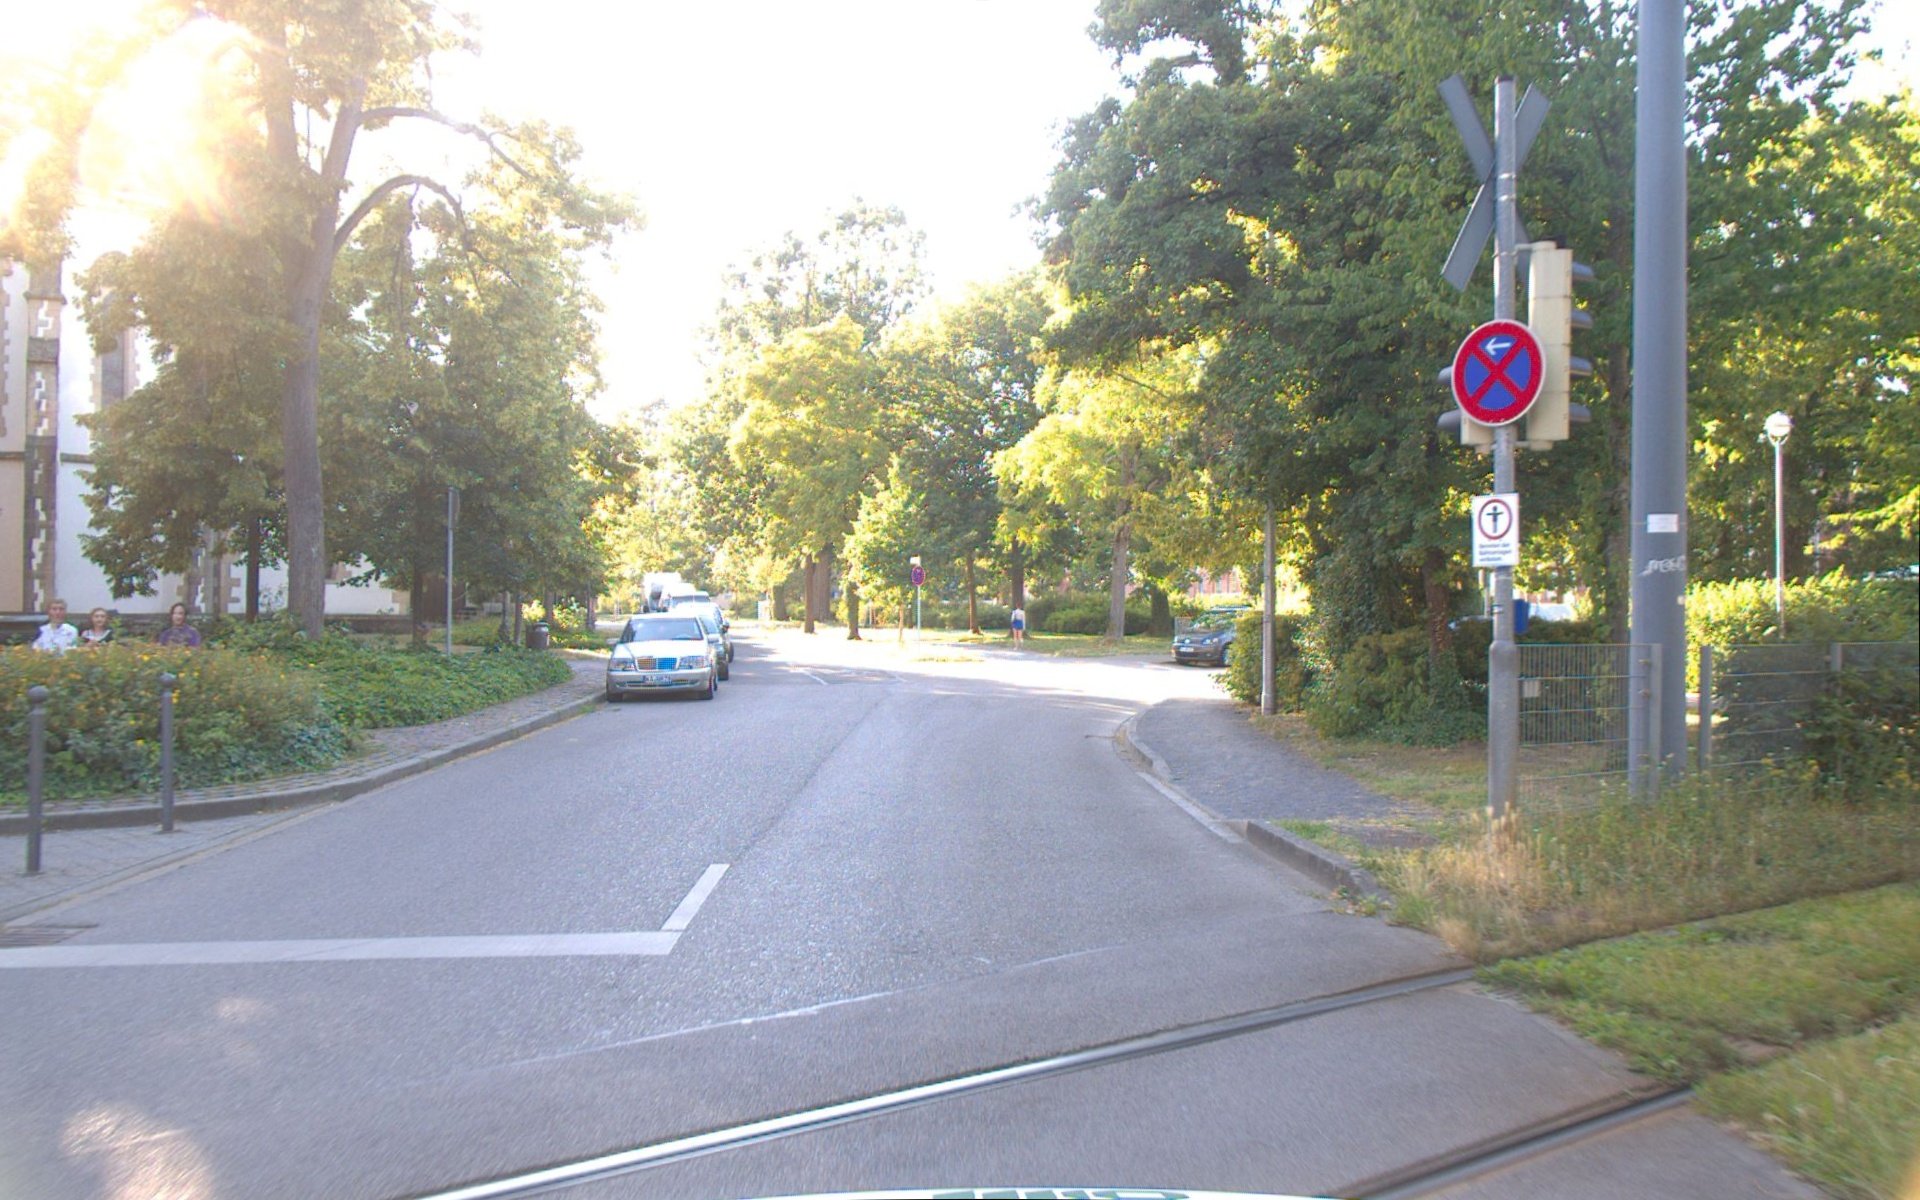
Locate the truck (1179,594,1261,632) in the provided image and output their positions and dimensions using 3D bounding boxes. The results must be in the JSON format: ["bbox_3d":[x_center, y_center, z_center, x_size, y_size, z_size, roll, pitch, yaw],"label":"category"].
[{"bbox_3d":[22.260,1.089,142.130,2.576,3.082,7.928,1,-1,-30],"label":"truck"}]

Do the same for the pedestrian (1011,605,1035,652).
[{"bbox_3d":[2.150,0.964,56.498,0.757,1.602,0.767,0,-1,-1],"label":"pedestrian"}]

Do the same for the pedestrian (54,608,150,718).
[{"bbox_3d":[-9.731,0.704,18.774,0.539,1.216,0.884,0,-1,7],"label":"pedestrian"}]

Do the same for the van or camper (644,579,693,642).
[{"bbox_3d":[-14.441,0.514,81.646,2.054,2.959,6.311,1,-1,-13],"label":"van or camper"}]

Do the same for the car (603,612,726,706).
[{"bbox_3d":[-5.051,0.961,28.786,1.745,1.440,4.492,-1,0,-6],"label":"car"}]

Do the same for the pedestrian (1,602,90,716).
[{"bbox_3d":[-10.314,0.657,18.672,0.539,1.254,0.725,0,-1,7],"label":"pedestrian"}]

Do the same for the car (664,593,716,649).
[{"bbox_3d":[-10.227,0.780,62.449,1.817,1.980,4.828,1,-1,-10],"label":"car"}]

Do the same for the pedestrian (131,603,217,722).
[{"bbox_3d":[-8.942,0.703,18.843,0.539,1.320,0.766,0,-1,7],"label":"pedestrian"}]

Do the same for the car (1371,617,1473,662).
[{"bbox_3d":[15.843,1.352,56.639,1.668,1.431,3.946,3,1,45],"label":"car"}]

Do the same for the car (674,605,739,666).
[{"bbox_3d":[-7.077,0.964,45.991,1.673,1.606,3.687,1,-1,-10],"label":"car"}]

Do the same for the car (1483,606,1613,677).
[{"bbox_3d":[18.043,1.247,50.630,1.924,2.049,5.121,0,-1,42],"label":"car"}]

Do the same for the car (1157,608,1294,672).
[{"bbox_3d":[7.795,1.154,48.283,1.778,1.705,4.289,3,1,45],"label":"car"}]

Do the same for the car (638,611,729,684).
[{"bbox_3d":[-5.927,0.971,35.707,1.791,1.440,4.486,-1,0,-9],"label":"car"}]

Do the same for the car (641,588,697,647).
[{"bbox_3d":[-12.387,0.736,70.127,1.821,2.397,5.164,1,-1,-15],"label":"car"}]
